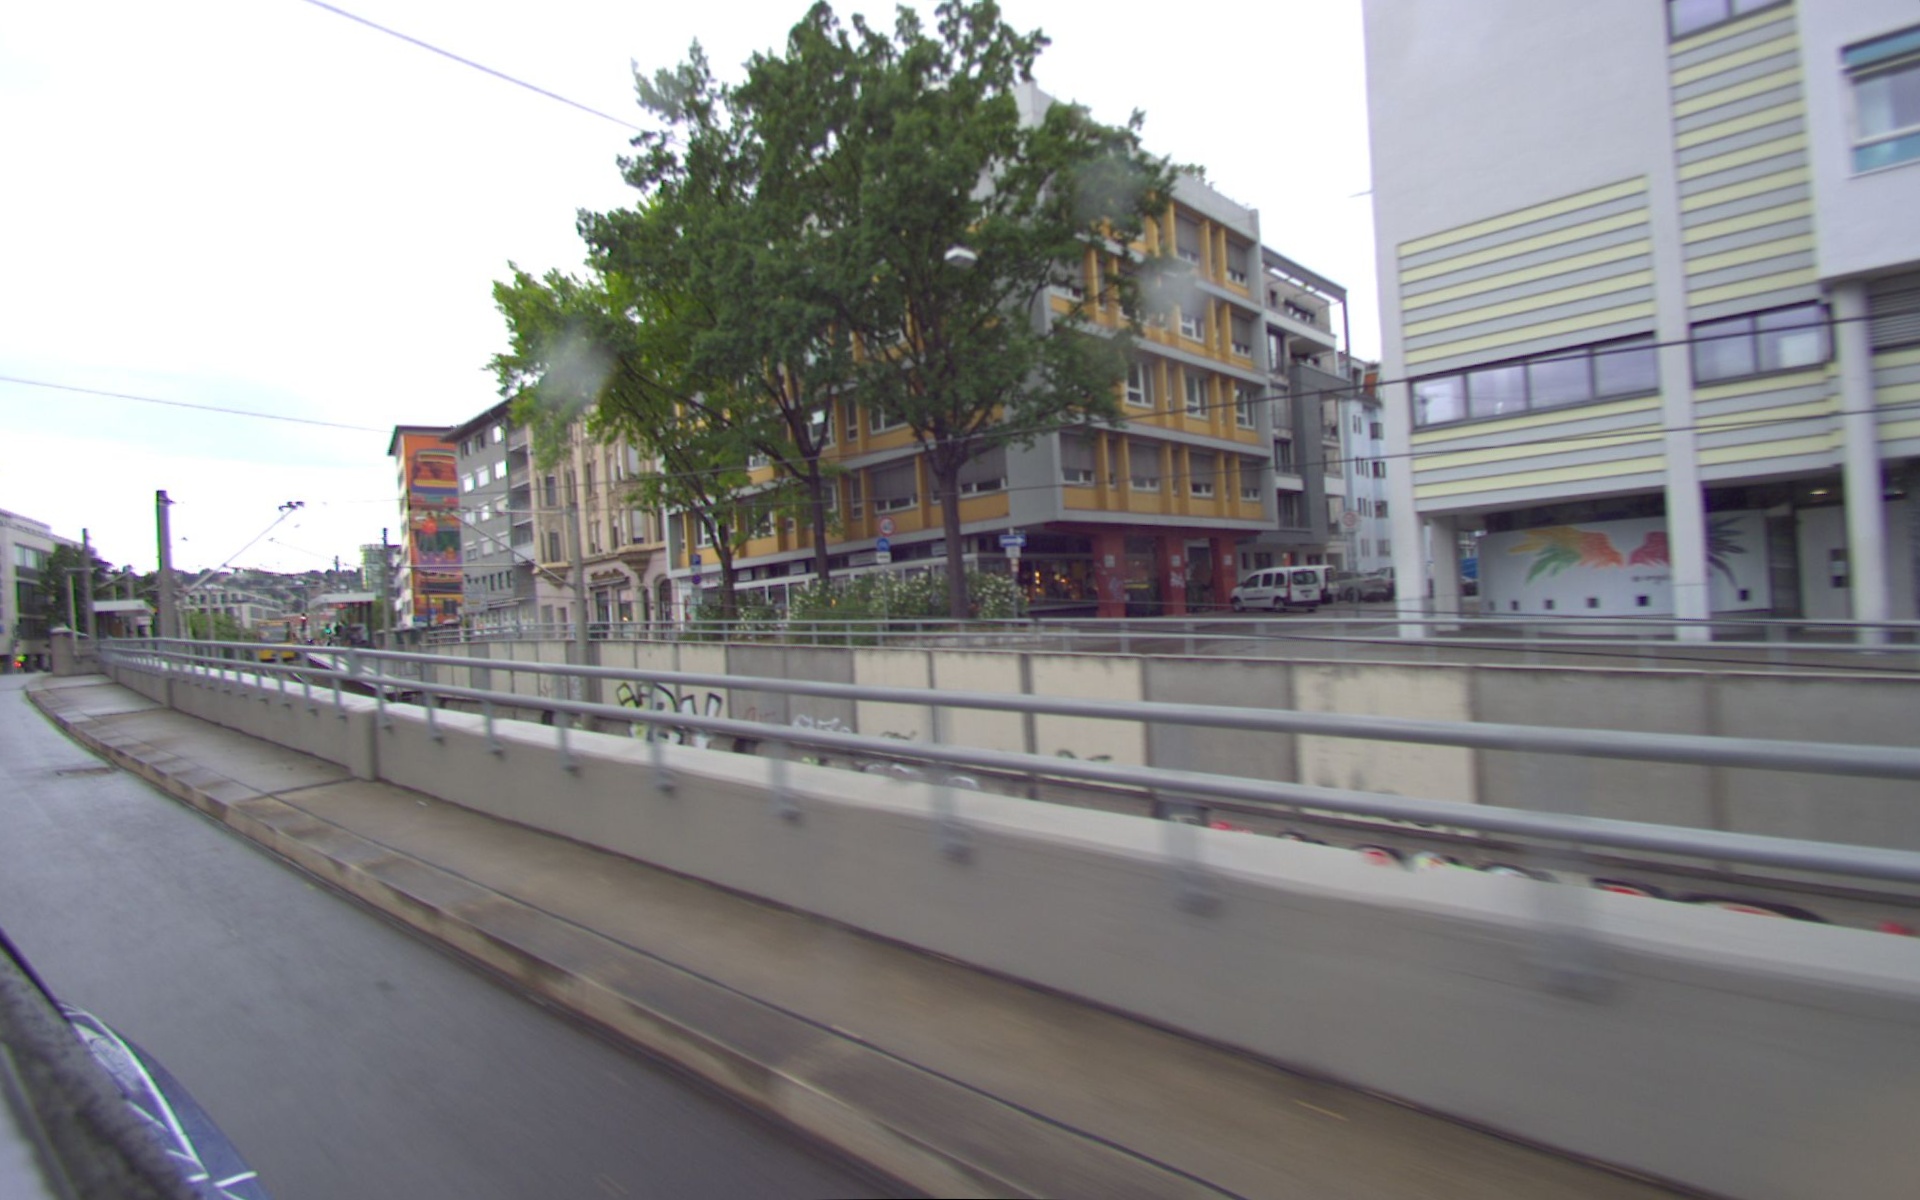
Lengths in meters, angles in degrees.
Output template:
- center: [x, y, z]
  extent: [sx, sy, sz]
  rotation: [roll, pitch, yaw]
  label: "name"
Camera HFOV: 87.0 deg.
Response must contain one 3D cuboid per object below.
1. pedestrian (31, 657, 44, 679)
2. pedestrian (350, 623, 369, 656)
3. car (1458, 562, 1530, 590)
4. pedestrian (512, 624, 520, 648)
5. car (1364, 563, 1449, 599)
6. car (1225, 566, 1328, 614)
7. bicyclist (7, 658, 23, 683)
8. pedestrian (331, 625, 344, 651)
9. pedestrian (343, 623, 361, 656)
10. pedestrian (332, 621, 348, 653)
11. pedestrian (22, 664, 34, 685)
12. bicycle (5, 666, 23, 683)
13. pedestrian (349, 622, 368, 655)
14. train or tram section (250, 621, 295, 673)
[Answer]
- center: [-78.275, 5.789, 85.896]
  extent: [0.709, 1.775, 0.960]
  rotation: [-2, -3, -40]
  label: "pedestrian"
- center: [-31.492, 2.090, 53.080]
  extent: [0.761, 1.661, 0.779]
  rotation: [4, -5, -32]
  label: "pedestrian"
- center: [36.813, -1.633, 69.858]
  extent: [1.743, 1.740, 4.008]
  rotation: [-2, 0, -38]
  label: "car"
- center: [-30.991, 2.513, 70.608]
  extent: [0.415, 1.695, 0.609]
  rotation: [-4, -1, -25]
  label: "pedestrian"
- center: [25.377, -1.060, 57.610]
  extent: [1.801, 1.800, 4.008]
  rotation: [-2, 0, -38]
  label: "car"
- center: [12.876, -0.416, 41.414]
  extent: [1.799, 1.800, 4.013]
  rotation: [-2, 1, -22]
  label: "car"
- center: [-63.834, 4.732, 68.339]
  extent: [0.653, 1.651, 0.794]
  rotation: [3, -2, -38]
  label: "bicyclist"
- center: [-37.350, 2.263, 60.731]
  extent: [0.550, 1.549, 0.518]
  rotation: [-2, 0, -36]
  label: "pedestrian"
- center: [-30.817, 2.018, 51.278]
  extent: [0.668, 1.661, 0.898]
  rotation: [3, -5, -32]
  label: "pedestrian"
- center: [-33.684, 2.011, 54.962]
  extent: [0.624, 1.673, 0.684]
  rotation: [-3, -2, -33]
  label: "pedestrian"
- center: [-79.221, 6.351, 86.031]
  extent: [0.589, 1.775, 0.847]
  rotation: [-3, -3, -34]
  label: "pedestrian"
- center: [-63.871, 5.012, 68.349]
  extent: [0.653, 1.061, 2.061]
  rotation: [-1, -1, -38]
  label: "bicycle"
- center: [-31.077, 2.008, 52.272]
  extent: [0.761, 1.661, 0.779]
  rotation: [4, -5, -32]
  label: "pedestrian"
- center: [-58.169, 4.046, 85.804]
  extent: [2.741, 3.719, 9.739]
  rotation: [-4, -2, -33]
  label: "train or tram section"
